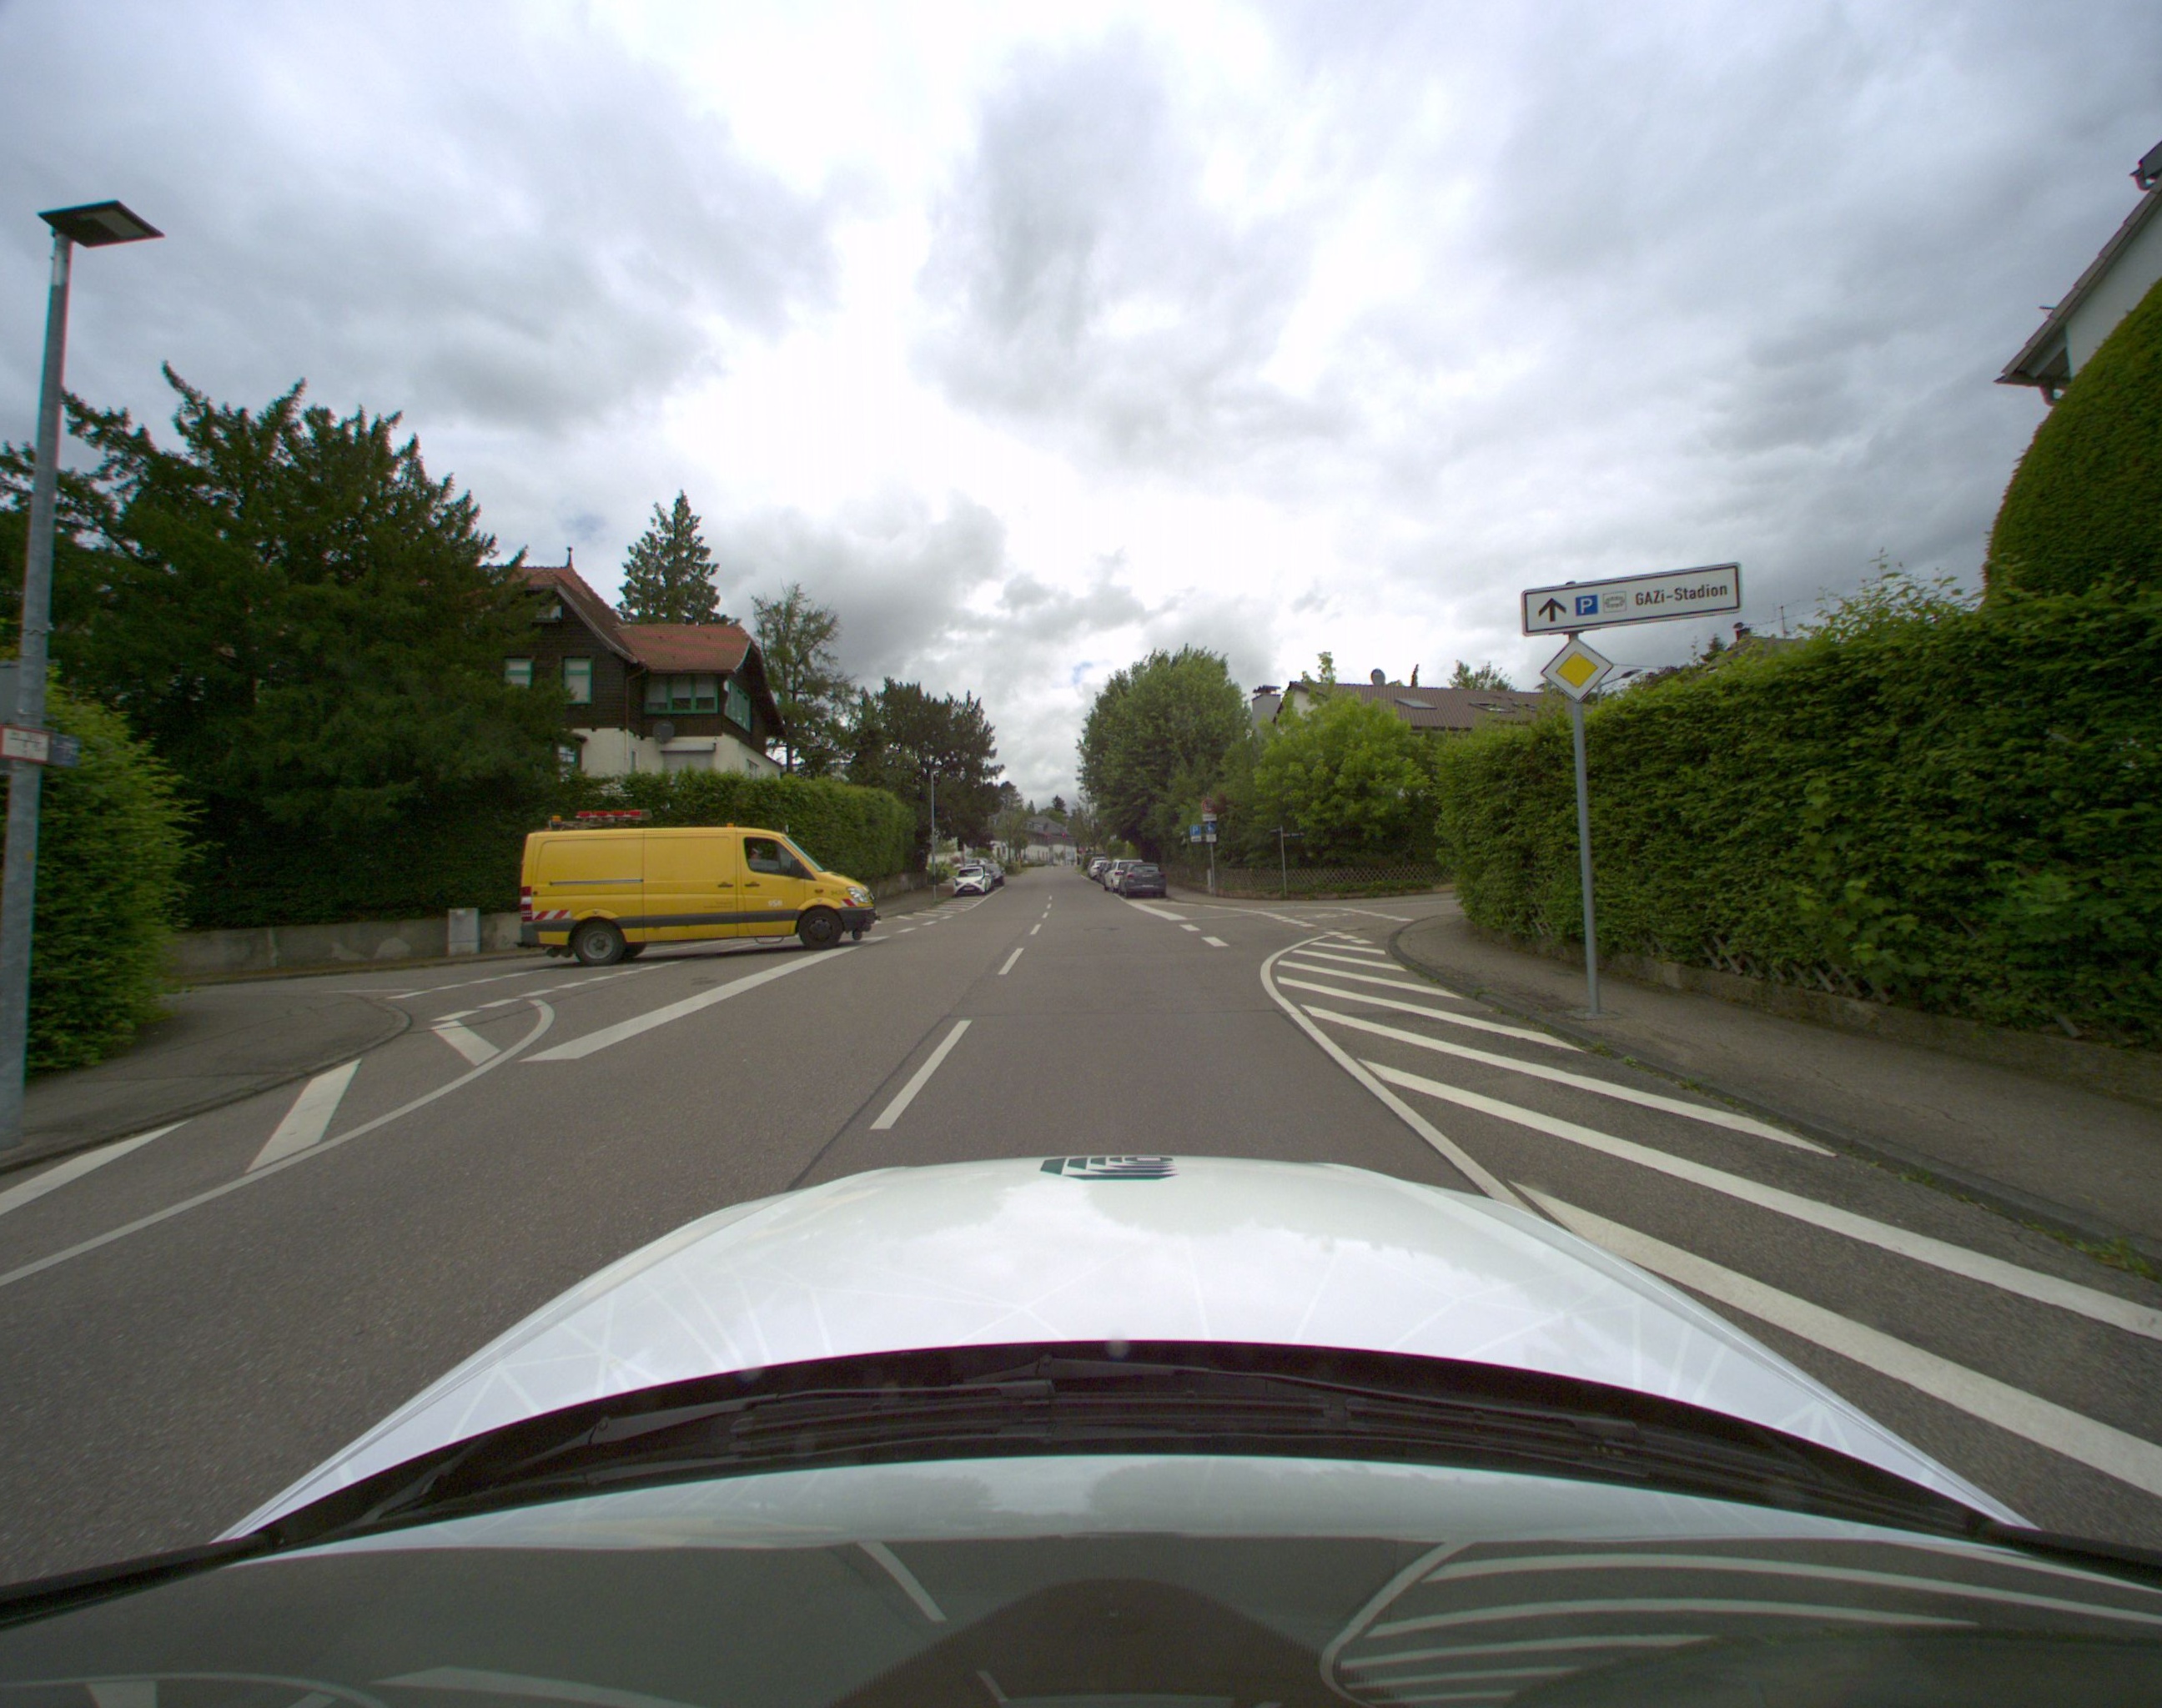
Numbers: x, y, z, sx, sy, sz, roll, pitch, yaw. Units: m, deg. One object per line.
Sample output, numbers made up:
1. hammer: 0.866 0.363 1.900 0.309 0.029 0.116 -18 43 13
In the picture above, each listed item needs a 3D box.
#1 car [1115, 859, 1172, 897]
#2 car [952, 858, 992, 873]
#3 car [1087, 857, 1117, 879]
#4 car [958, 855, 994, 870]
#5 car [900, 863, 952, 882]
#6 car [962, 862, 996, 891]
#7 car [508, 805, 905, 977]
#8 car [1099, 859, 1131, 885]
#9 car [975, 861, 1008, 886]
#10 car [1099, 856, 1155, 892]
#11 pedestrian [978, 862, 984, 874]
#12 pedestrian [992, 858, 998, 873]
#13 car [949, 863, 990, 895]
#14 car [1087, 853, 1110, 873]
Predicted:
1. car: 2.745 1.014 36.508 1.933 1.491 4.451 -3 0 -3
2. car: -12.713 1.291 95.066 4.377 1.566 2.064 -2 0 -4
3. car: 1.560 1.042 61.828 1.988 1.491 5.002 -3 0 -1
4. car: -12.563 1.004 97.718 3.976 1.653 2.007 -1 0 -2
5. car: -12.006 1.436 63.217 3.792 1.354 1.737 -2 0 -8
6. car: -5.703 1.245 45.767 1.620 1.519 2.972 -2 -1 -3
7. car: -6.561 0.549 15.122 6.141 2.601 2.353 -3 0 -19
8. car: 2.081 1.099 51.069 1.693 1.508 4.157 0 0 -2
9. car: -5.875 1.260 53.904 1.846 1.469 4.677 -2 0 -3
10. car: 2.265 0.957 41.431 1.999 1.608 4.747 -3 0 -7
11. pedestrian: -11.429 1.581 93.264 0.605 1.283 0.899 0 -1 -2
12. pedestrian: -9.986 1.311 94.281 0.591 1.640 0.565 -3 0 -1
13. car: -5.670 1.248 41.696 1.741 1.448 3.510 -3 0 -3
14. car: 1.409 0.760 67.862 1.712 1.632 3.925 0 0 -2
